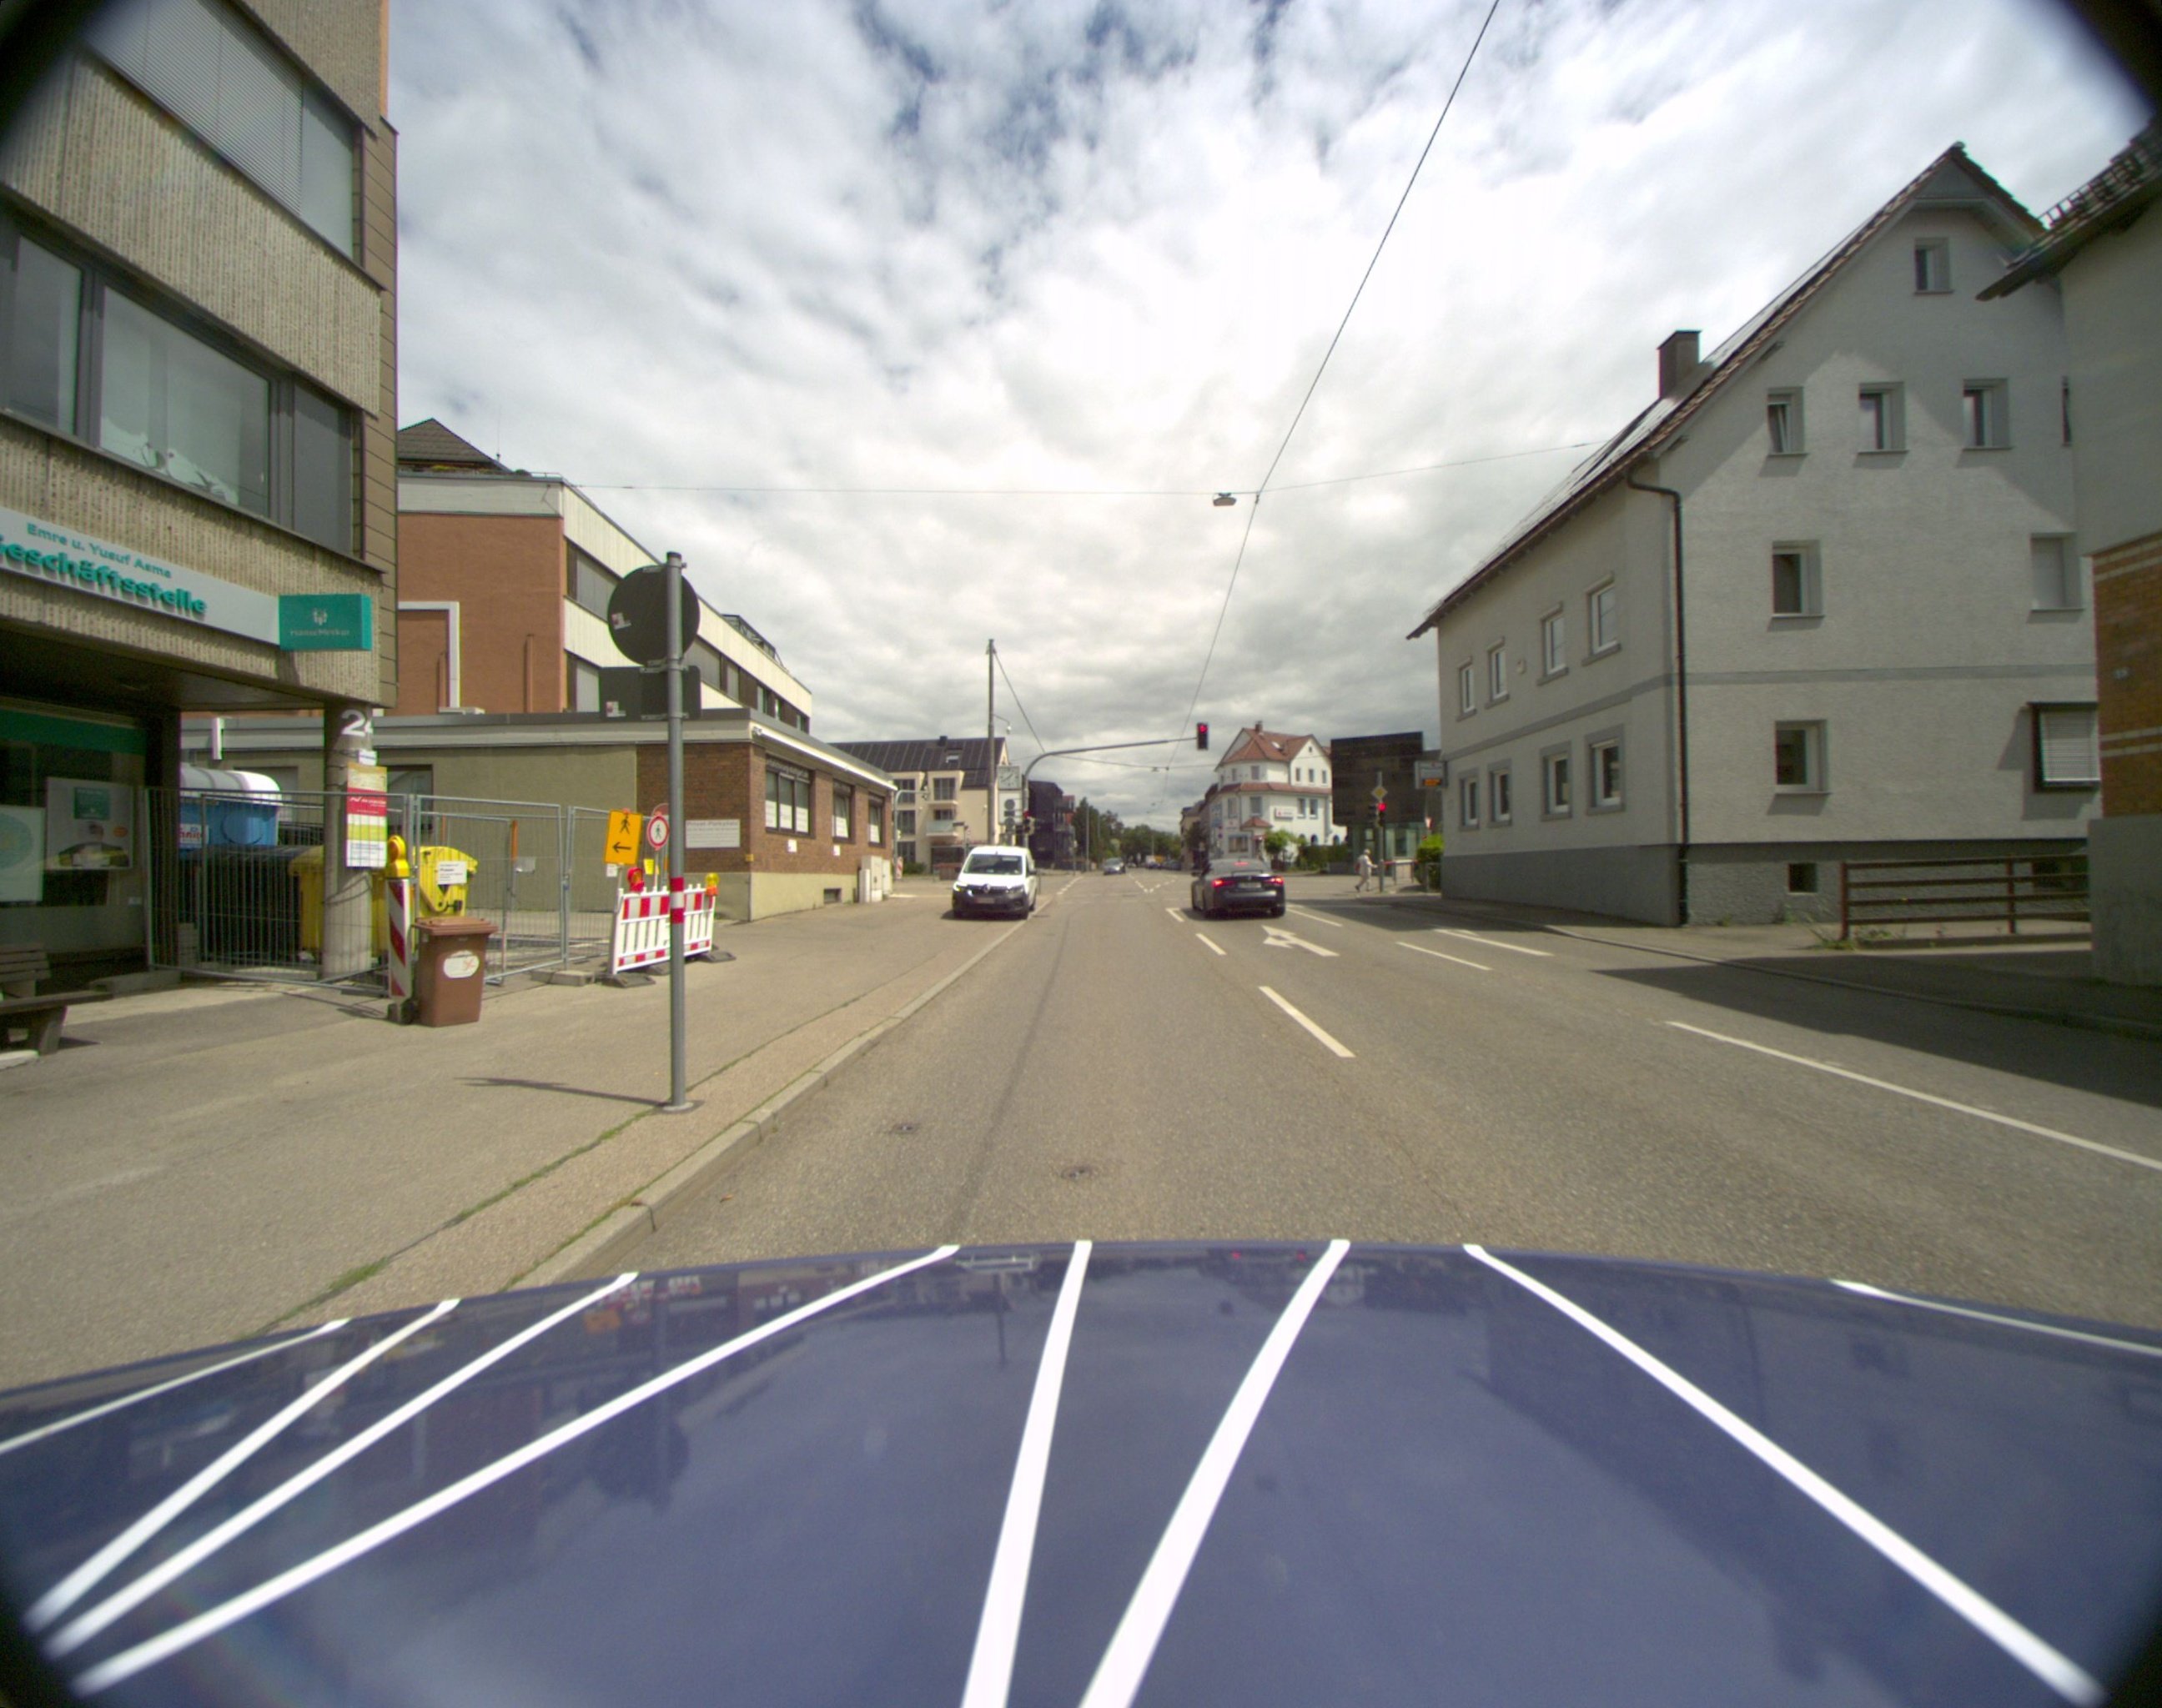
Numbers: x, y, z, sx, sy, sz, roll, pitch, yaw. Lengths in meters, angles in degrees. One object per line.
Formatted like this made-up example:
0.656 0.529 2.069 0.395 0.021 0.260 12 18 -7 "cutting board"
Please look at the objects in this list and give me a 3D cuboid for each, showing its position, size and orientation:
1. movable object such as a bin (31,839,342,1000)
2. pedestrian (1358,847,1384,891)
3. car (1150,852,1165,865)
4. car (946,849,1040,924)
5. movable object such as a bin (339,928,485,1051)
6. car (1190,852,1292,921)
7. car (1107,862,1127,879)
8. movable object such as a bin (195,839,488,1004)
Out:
-10.290 0.699 8.856 1.930 1.674 1.381 -2 1 2 "movable object such as a bin"
10.766 0.559 28.209 0.585 1.599 0.681 -2 1 -9 "pedestrian"
11.501 0.646 114.464 1.998 2.002 4.001 -1 0 4 "car"
-2.148 0.742 19.661 1.893 1.718 4.293 1 0 0 "car"
-5.701 1.142 6.501 0.789 0.909 0.470 4 1 0 "movable object such as a bin"
3.858 0.757 18.985 1.795 1.477 4.001 -2 -1 2 "car"
3.382 1.544 71.871 1.795 1.477 4.001 -2 -1 2 "car"
-8.327 0.707 8.692 1.930 1.674 1.381 -2 1 2 "movable object such as a bin"
